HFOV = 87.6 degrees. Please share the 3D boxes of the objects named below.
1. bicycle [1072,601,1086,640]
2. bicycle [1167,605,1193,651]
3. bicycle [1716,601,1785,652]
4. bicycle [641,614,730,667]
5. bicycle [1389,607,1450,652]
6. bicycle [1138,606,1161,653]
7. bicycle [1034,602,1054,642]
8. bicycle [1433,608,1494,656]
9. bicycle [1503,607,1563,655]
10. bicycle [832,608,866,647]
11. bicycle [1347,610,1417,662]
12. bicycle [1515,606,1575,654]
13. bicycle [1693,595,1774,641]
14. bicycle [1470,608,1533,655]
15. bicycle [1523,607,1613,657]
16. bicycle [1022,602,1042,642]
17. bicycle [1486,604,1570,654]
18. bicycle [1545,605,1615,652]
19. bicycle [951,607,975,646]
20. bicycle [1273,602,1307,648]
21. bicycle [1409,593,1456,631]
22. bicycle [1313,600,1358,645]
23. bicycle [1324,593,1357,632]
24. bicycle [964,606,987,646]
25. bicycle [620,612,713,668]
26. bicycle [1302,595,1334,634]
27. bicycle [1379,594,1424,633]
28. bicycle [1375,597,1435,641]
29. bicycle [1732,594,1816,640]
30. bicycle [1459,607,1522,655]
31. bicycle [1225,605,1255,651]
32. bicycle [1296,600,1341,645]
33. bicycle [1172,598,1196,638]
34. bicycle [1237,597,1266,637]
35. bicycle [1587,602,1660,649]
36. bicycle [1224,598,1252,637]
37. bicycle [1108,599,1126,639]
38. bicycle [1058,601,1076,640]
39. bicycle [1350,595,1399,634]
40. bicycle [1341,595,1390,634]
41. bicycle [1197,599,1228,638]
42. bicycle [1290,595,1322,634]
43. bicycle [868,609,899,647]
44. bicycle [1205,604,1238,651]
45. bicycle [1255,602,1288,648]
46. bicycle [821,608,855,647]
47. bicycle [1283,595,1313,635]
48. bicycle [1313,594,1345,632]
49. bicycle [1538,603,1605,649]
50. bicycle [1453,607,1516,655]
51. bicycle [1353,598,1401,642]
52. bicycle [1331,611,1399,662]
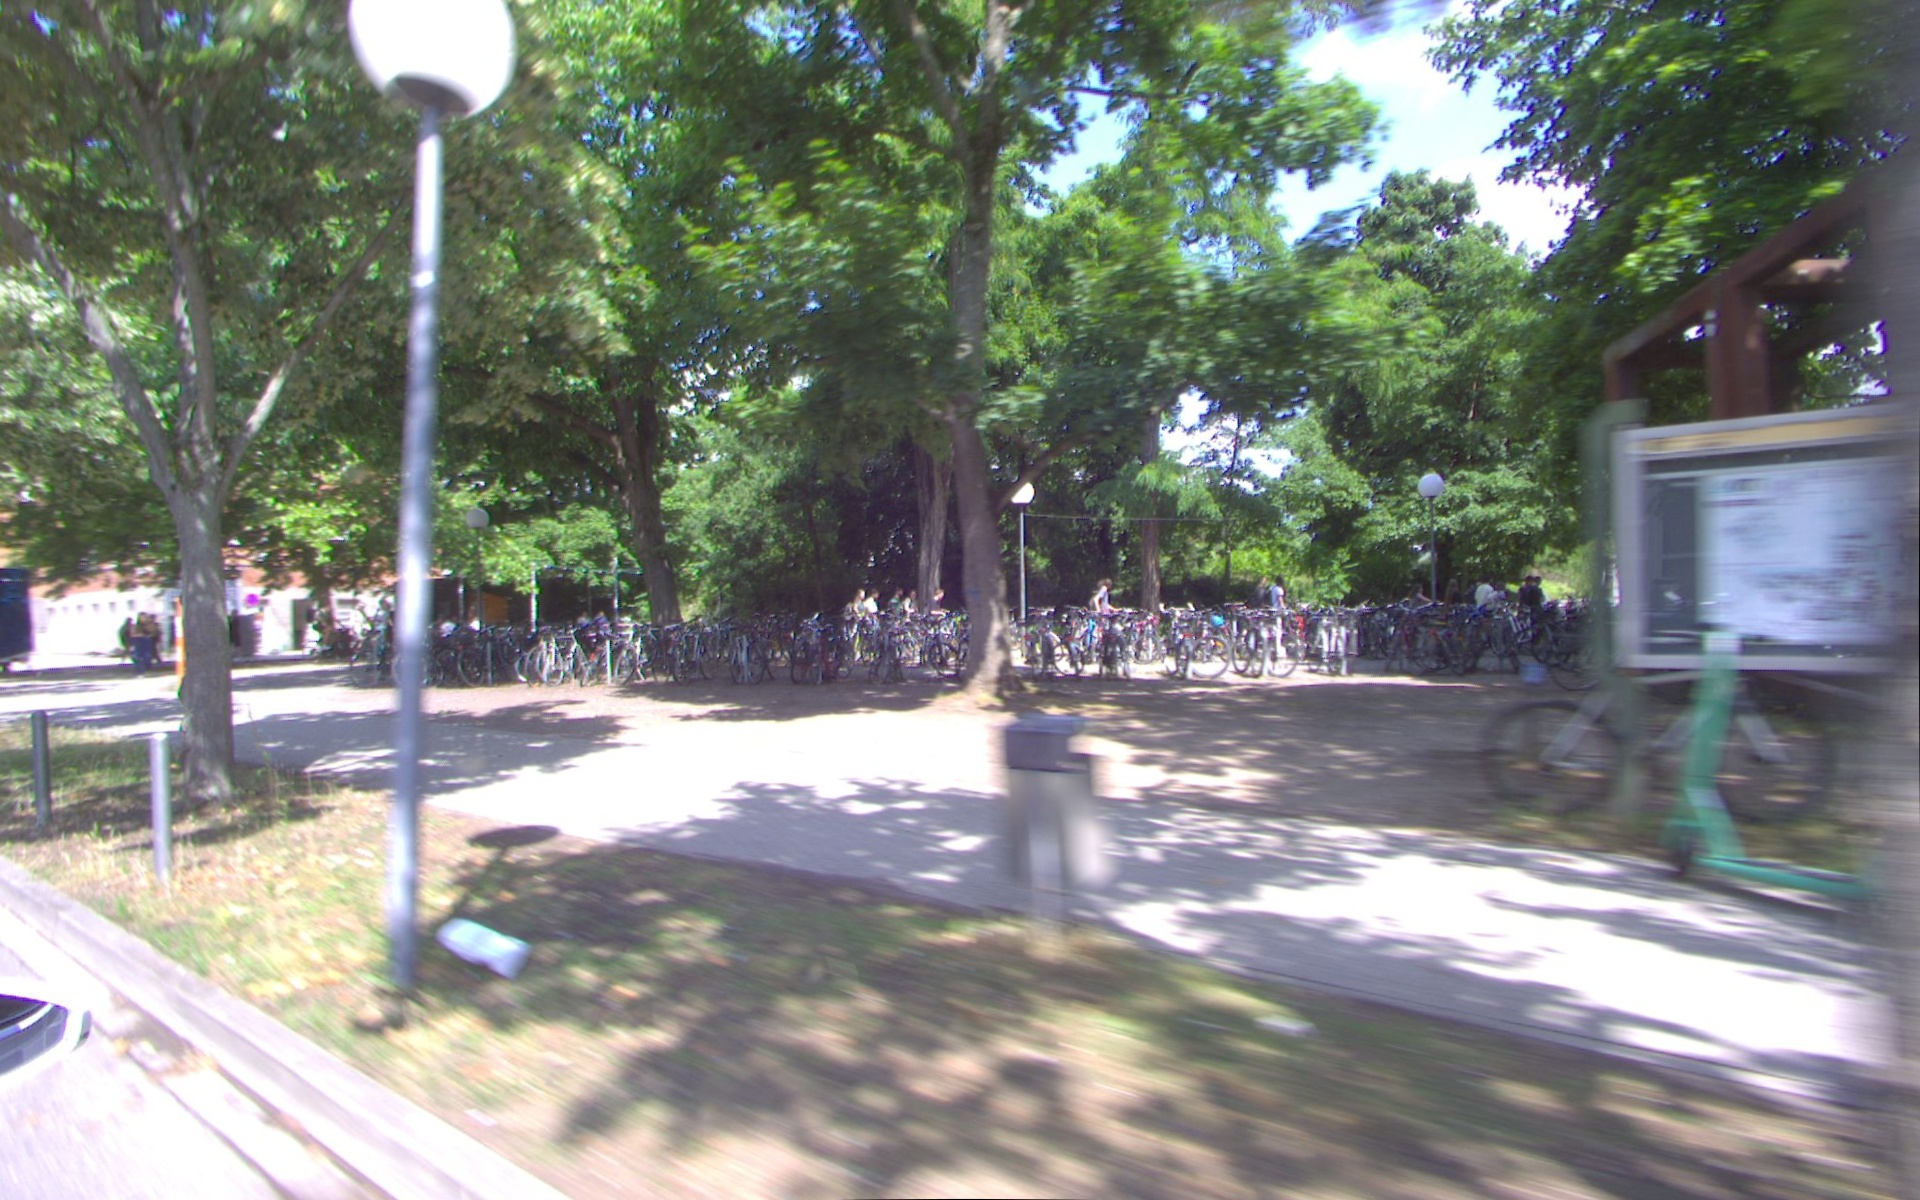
[{"bbox_3d":[3.504,0.581,29.459,0.341,1.108,1.610,-1,1,8],"label":"bicycle"},{"bbox_3d":[5.081,0.629,23.176,0.371,0.992,1.903,-1,0,7],"label":"bicycle"},{"bbox_3d":[17.660,0.594,22.405,0.445,1.097,1.472,1,-2,3],"label":"bicycle"},{"bbox_3d":[-5.960,0.890,21.765,1.869,1.097,0.478,-2,1,17],"label":"bicycle"},{"bbox_3d":[10.887,0.682,23.772,0.371,0.992,1.801,-2,0,-9],"label":"bicycle"},{"bbox_3d":[4.352,0.661,23.083,0.371,0.992,1.903,-1,0,7],"label":"bicycle"},{"bbox_3d":[2.467,0.623,29.333,0.469,1.108,1.610,-1,1,8],"label":"bicycle"},{"bbox_3d":[11.800,0.750,23.508,0.346,1.097,1.469,1,-2,-18],"label":"bicycle"},{"bbox_3d":[13.659,0.734,23.921,0.346,1.097,1.471,2,-2,-12],"label":"bicycle"},{"bbox_3d":[-3.348,0.816,30.339,0.469,1.108,1.752,-1,1,11],"label":"bicycle"},{"bbox_3d":[8.834,0.734,21.034,0.469,0.992,1.903,-2,0,-6],"label":"bicycle"},{"bbox_3d":[14.001,0.719,24.001,0.346,1.097,1.471,2,-2,-12],"label":"bicycle"},{"bbox_3d":[19.532,0.467,25.315,0.470,1.097,1.686,2,-2,-14],"label":"bicycle"},{"bbox_3d":[12.990,0.753,24.058,0.347,1.097,1.469,2,-2,-19],"label":"bicycle"},{"bbox_3d":[12.926,0.655,21.353,0.470,0.992,1.902,-2,0,-12],"label":"bicycle"},{"bbox_3d":[2.123,0.634,29.375,0.469,1.108,1.610,-1,1,8],"label":"bicycle"},{"bbox_3d":[11.913,0.583,21.065,0.469,0.992,1.903,-2,0,-7],"label":"bicycle"},{"bbox_3d":[14.951,0.678,24.174,0.347,1.097,1.466,2,-2,-26],"label":"bicycle"},{"bbox_3d":[0.094,0.776,29.751,0.469,1.108,1.610,-1,1,8],"label":"bicycle"},{"bbox_3d":[7.602,0.546,23.128,0.371,0.992,1.903,-1,0,7],"label":"bicycle"},{"bbox_3d":[14.047,0.351,29.797,0.341,1.108,1.609,-2,1,-11],"label":"bicycle"},{"bbox_3d":[8.746,0.499,23.365,0.396,0.992,1.596,-2,0,-2],"label":"bicycle"},{"bbox_3d":[11.350,0.356,29.902,0.341,1.108,1.611,-2,1,0],"label":"bicycle"},{"bbox_3d":[0.469,0.762,29.752,0.469,1.108,1.610,-1,1,8],"label":"bicycle"},{"bbox_3d":[-6.120,0.835,20.849,1.869,1.097,0.478,-2,1,17],"label":"bicycle"},{"bbox_3d":[10.501,0.406,29.404,0.341,1.108,1.611,-2,1,0],"label":"bicycle"},{"bbox_3d":[13.092,0.389,29.738,0.341,1.108,1.609,-2,1,-11],"label":"bicycle"},{"bbox_3d":[10.511,0.430,23.717,0.371,0.992,1.801,-2,0,-9],"label":"bicycle"},{"bbox_3d":[20.436,0.440,25.181,0.470,1.097,1.686,2,-2,-14],"label":"bicycle"},{"bbox_3d":[12.659,0.737,23.938,0.347,1.097,1.469,2,-2,-19],"label":"bicycle"},{"bbox_3d":[6.434,0.616,23.088,0.371,0.992,1.903,-1,0,7],"label":"bicycle"},{"bbox_3d":[8.344,0.514,23.359,0.396,0.992,1.596,-2,0,-2],"label":"bicycle"},{"bbox_3d":[6.413,0.503,28.717,0.341,1.108,1.611,-2,1,2],"label":"bicycle"},{"bbox_3d":[8.473,0.477,29.176,0.341,1.108,1.611,-2,1,0],"label":"bicycle"},{"bbox_3d":[16.205,0.621,24.513,0.469,1.097,1.688,1,-2,-8],"label":"bicycle"},{"bbox_3d":[8.095,0.488,29.197,0.341,1.108,1.611,-2,1,0],"label":"bicycle"},{"bbox_3d":[4.583,0.545,29.343,0.469,1.108,1.610,-1,1,8],"label":"bicycle"},{"bbox_3d":[3.161,0.592,29.505,0.469,1.108,1.610,-1,1,8],"label":"bicycle"},{"bbox_3d":[12.300,0.417,29.752,0.342,1.108,1.607,-2,1,-19],"label":"bicycle"},{"bbox_3d":[11.979,0.433,29.626,0.342,1.108,1.607,-2,1,-19],"label":"bicycle"},{"bbox_3d":[7.325,0.521,29.056,0.469,1.108,1.611,-2,1,0],"label":"bicycle"},{"bbox_3d":[10.158,0.417,29.433,0.341,1.108,1.611,-2,1,0],"label":"bicycle"},{"bbox_3d":[-2.308,0.838,30.369,0.342,1.108,1.608,-1,1,18],"label":"bicycle"},{"bbox_3d":[6.029,0.614,23.147,0.469,0.992,1.903,-2,0,7],"label":"bicycle"},{"bbox_3d":[7.191,0.549,23.183,0.371,0.992,1.903,-1,0,7],"label":"bicycle"},{"bbox_3d":[-3.684,0.826,30.403,0.469,1.108,1.752,-1,1,11],"label":"bicycle"},{"bbox_3d":[9.920,0.425,29.418,0.330,1.108,1.611,-2,1,0],"label":"bicycle"},{"bbox_3d":[11.002,0.369,29.899,0.341,1.108,1.611,-2,1,0],"label":"bicycle"},{"bbox_3d":[15.095,0.652,24.752,0.347,1.097,1.467,2,-2,-23],"label":"bicycle"},{"bbox_3d":[12.376,0.724,23.674,0.347,1.097,1.469,2,-2,-19],"label":"bicycle"},{"bbox_3d":[9.805,0.456,23.604,0.396,0.992,1.596,-2,0,-2],"label":"bicycle"},{"bbox_3d":[8.460,0.745,20.997,0.469,0.992,1.903,-2,0,-6],"label":"bicycle"}]
